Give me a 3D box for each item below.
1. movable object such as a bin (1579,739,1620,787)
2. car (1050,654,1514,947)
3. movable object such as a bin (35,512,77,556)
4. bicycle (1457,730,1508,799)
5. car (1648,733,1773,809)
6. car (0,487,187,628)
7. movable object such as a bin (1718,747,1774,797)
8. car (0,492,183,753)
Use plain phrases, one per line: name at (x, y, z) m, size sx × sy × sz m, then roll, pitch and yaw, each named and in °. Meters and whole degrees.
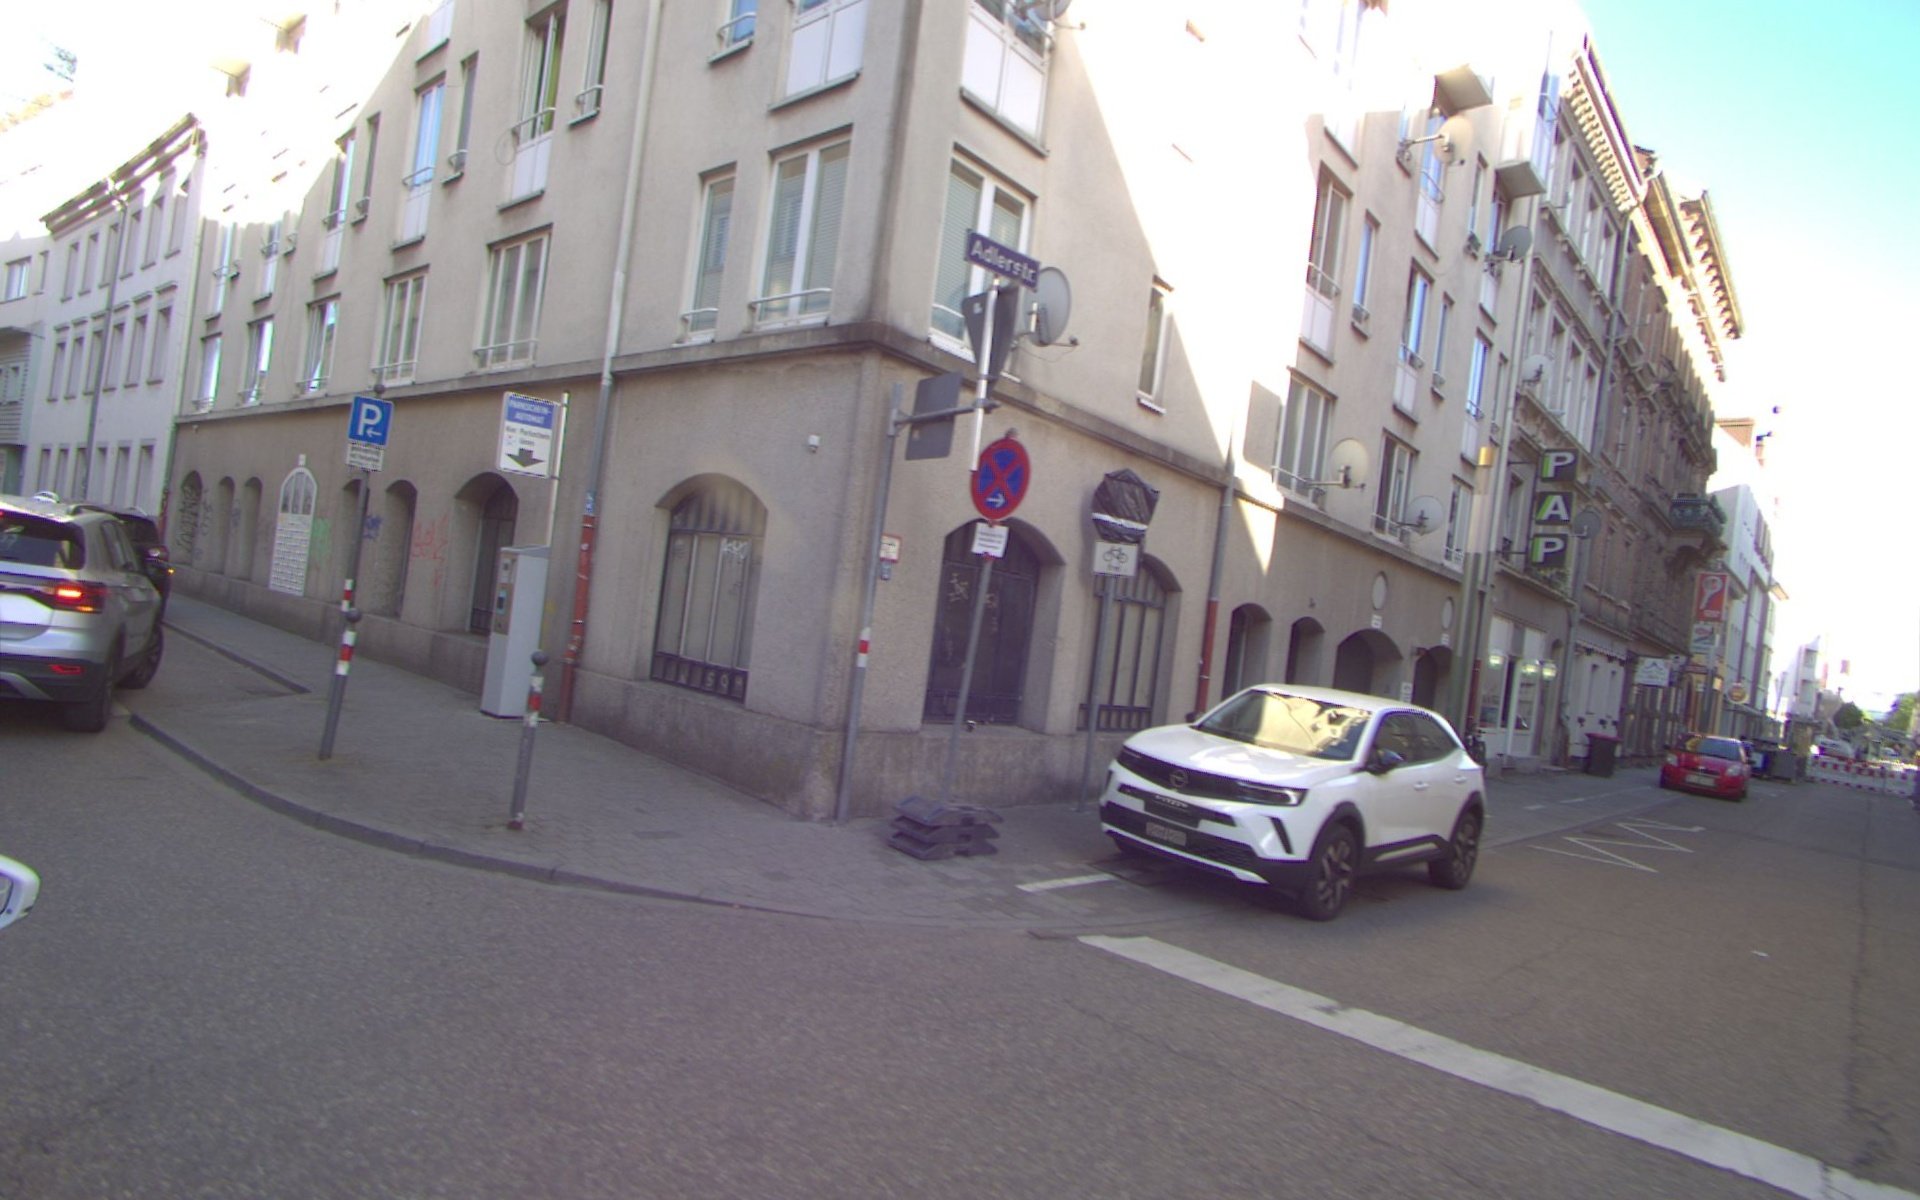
movable object such as a bin at (16.458, 4.179, 25.895) m, size 0.680 × 1.088 × 0.448 m, roll 10°, pitch 2°, yaw 42°
car at (2.791, 1.504, 8.158) m, size 4.060 × 1.586 × 1.745 m, roll 10°, pitch -2°, yaw -44°
movable object such as a bin at (-23.583, -1.724, 26.242) m, size 0.697 × 1.066 × 0.626 m, roll 7°, pitch 4°, yaw 32°
bicycle at (9.607, 3.005, 18.471) m, size 0.425 × 1.157 × 1.586 m, roll 7°, pitch -1°, yaw 38°
car at (19.283, 4.372, 25.796) m, size 3.782 × 1.495 × 1.893 m, roll 10°, pitch -2°, yaw -44°
car at (-13.745, -0.724, 15.599) m, size 4.430 × 1.673 × 1.824 m, roll 7°, pitch -2°, yaw 41°
movable object such as a bin at (25.460, 5.563, 32.573) m, size 1.989 × 1.407 × 1.039 m, roll 9°, pitch -1°, yaw -44°
car at (-7.349, -0.021, 7.698) m, size 1.815 × 1.577 × 3.949 m, roll 9°, pitch -2°, yaw -34°
